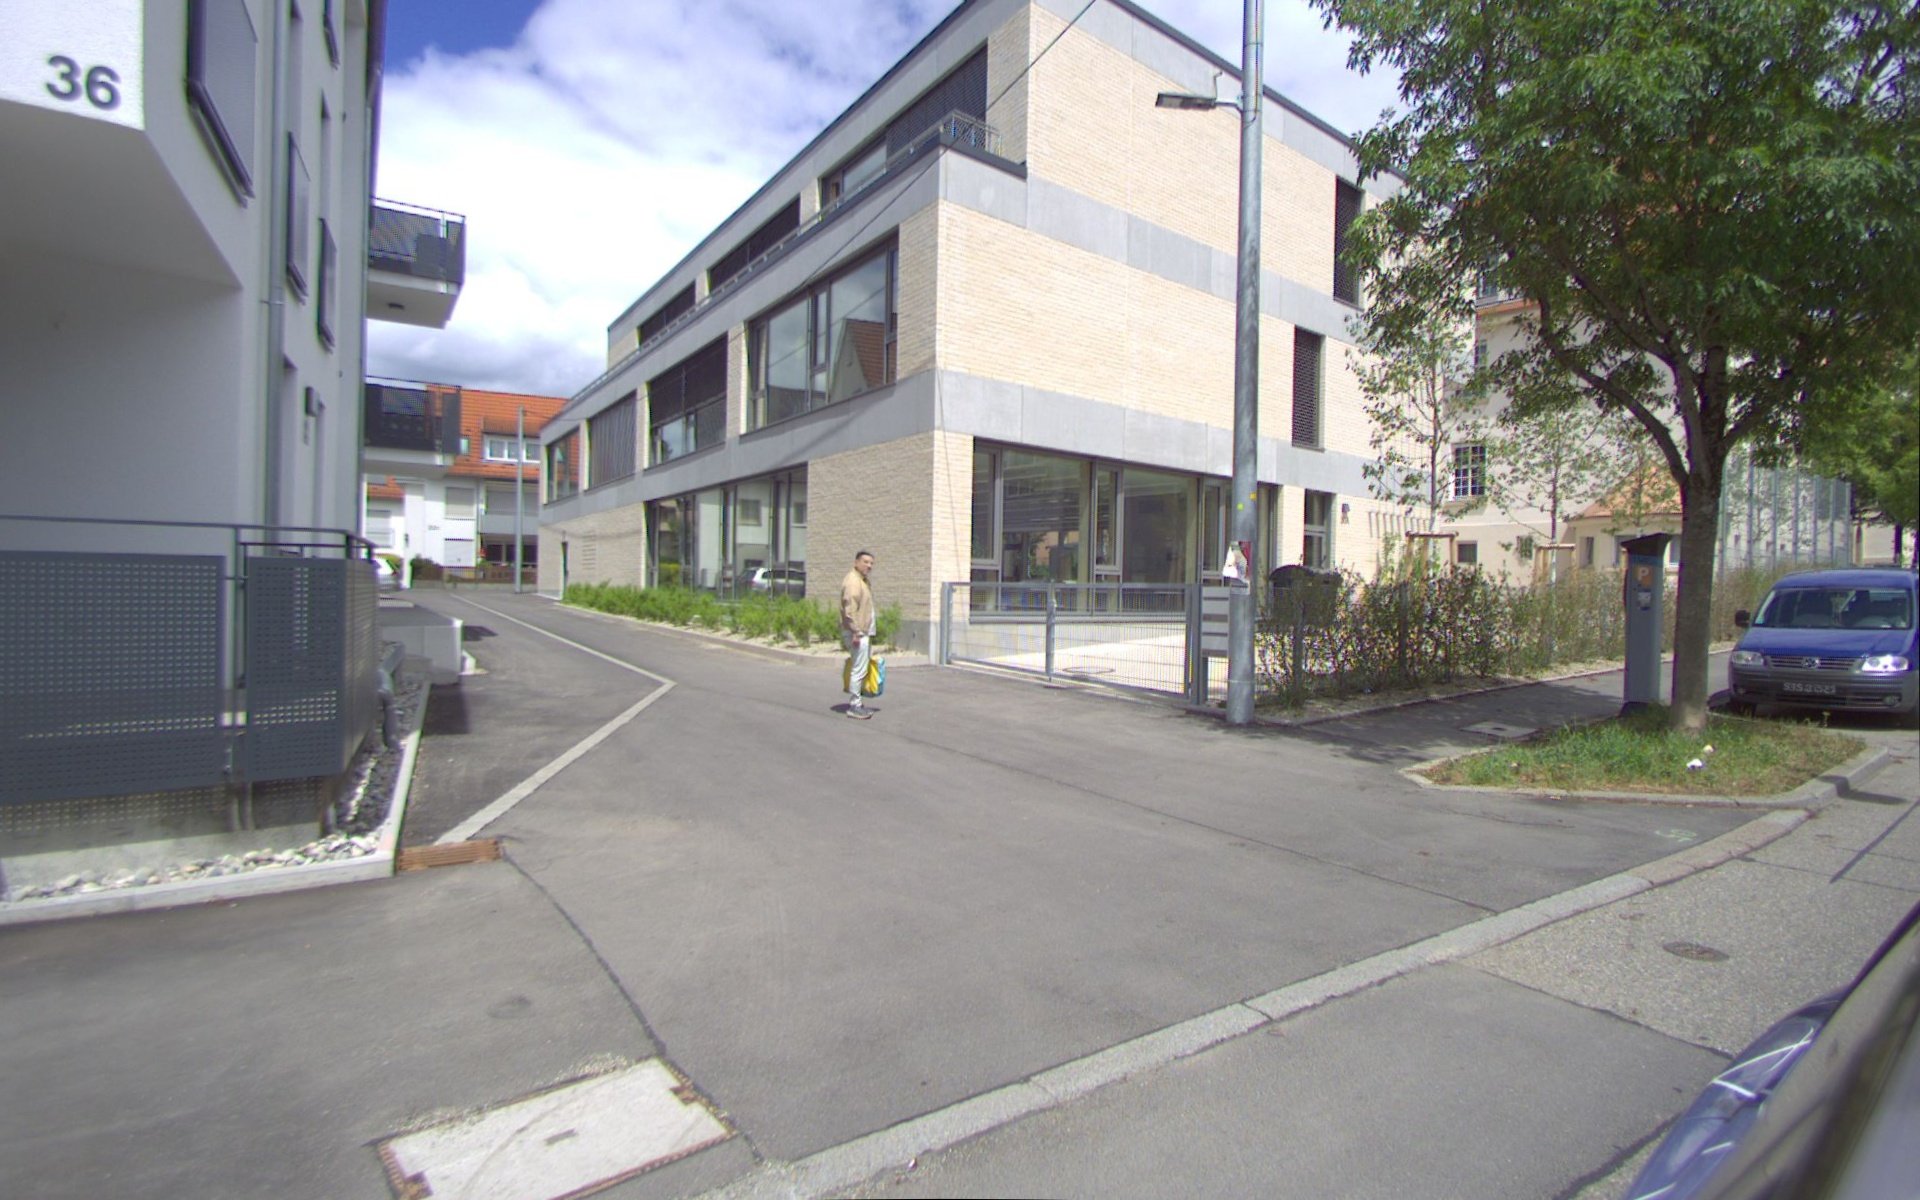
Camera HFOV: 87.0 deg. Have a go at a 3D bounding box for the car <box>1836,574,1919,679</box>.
[{"bbox_3d":[15.345,0.383,16.044,3.605,1.538,1.676,0,1,-40],"label":"car"}]

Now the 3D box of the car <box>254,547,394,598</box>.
[{"bbox_3d":[-21.264,-0.907,33.983,3.857,1.524,1.700,1,1,-31],"label":"car"}]

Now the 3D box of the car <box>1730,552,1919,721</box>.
[{"bbox_3d":[11.065,0.360,12.455,4.086,1.765,1.697,0,1,-40],"label":"car"}]

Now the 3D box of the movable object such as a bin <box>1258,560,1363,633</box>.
[{"bbox_3d":[7.394,-0.088,21.335,1.774,1.465,1.351,0,1,-39],"label":"movable object such as a bin"}]

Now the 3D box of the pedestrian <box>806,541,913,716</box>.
[{"bbox_3d":[-1.045,0.269,10.544,0.815,1.725,0.774,0,0,-42],"label":"pedestrian"}]
